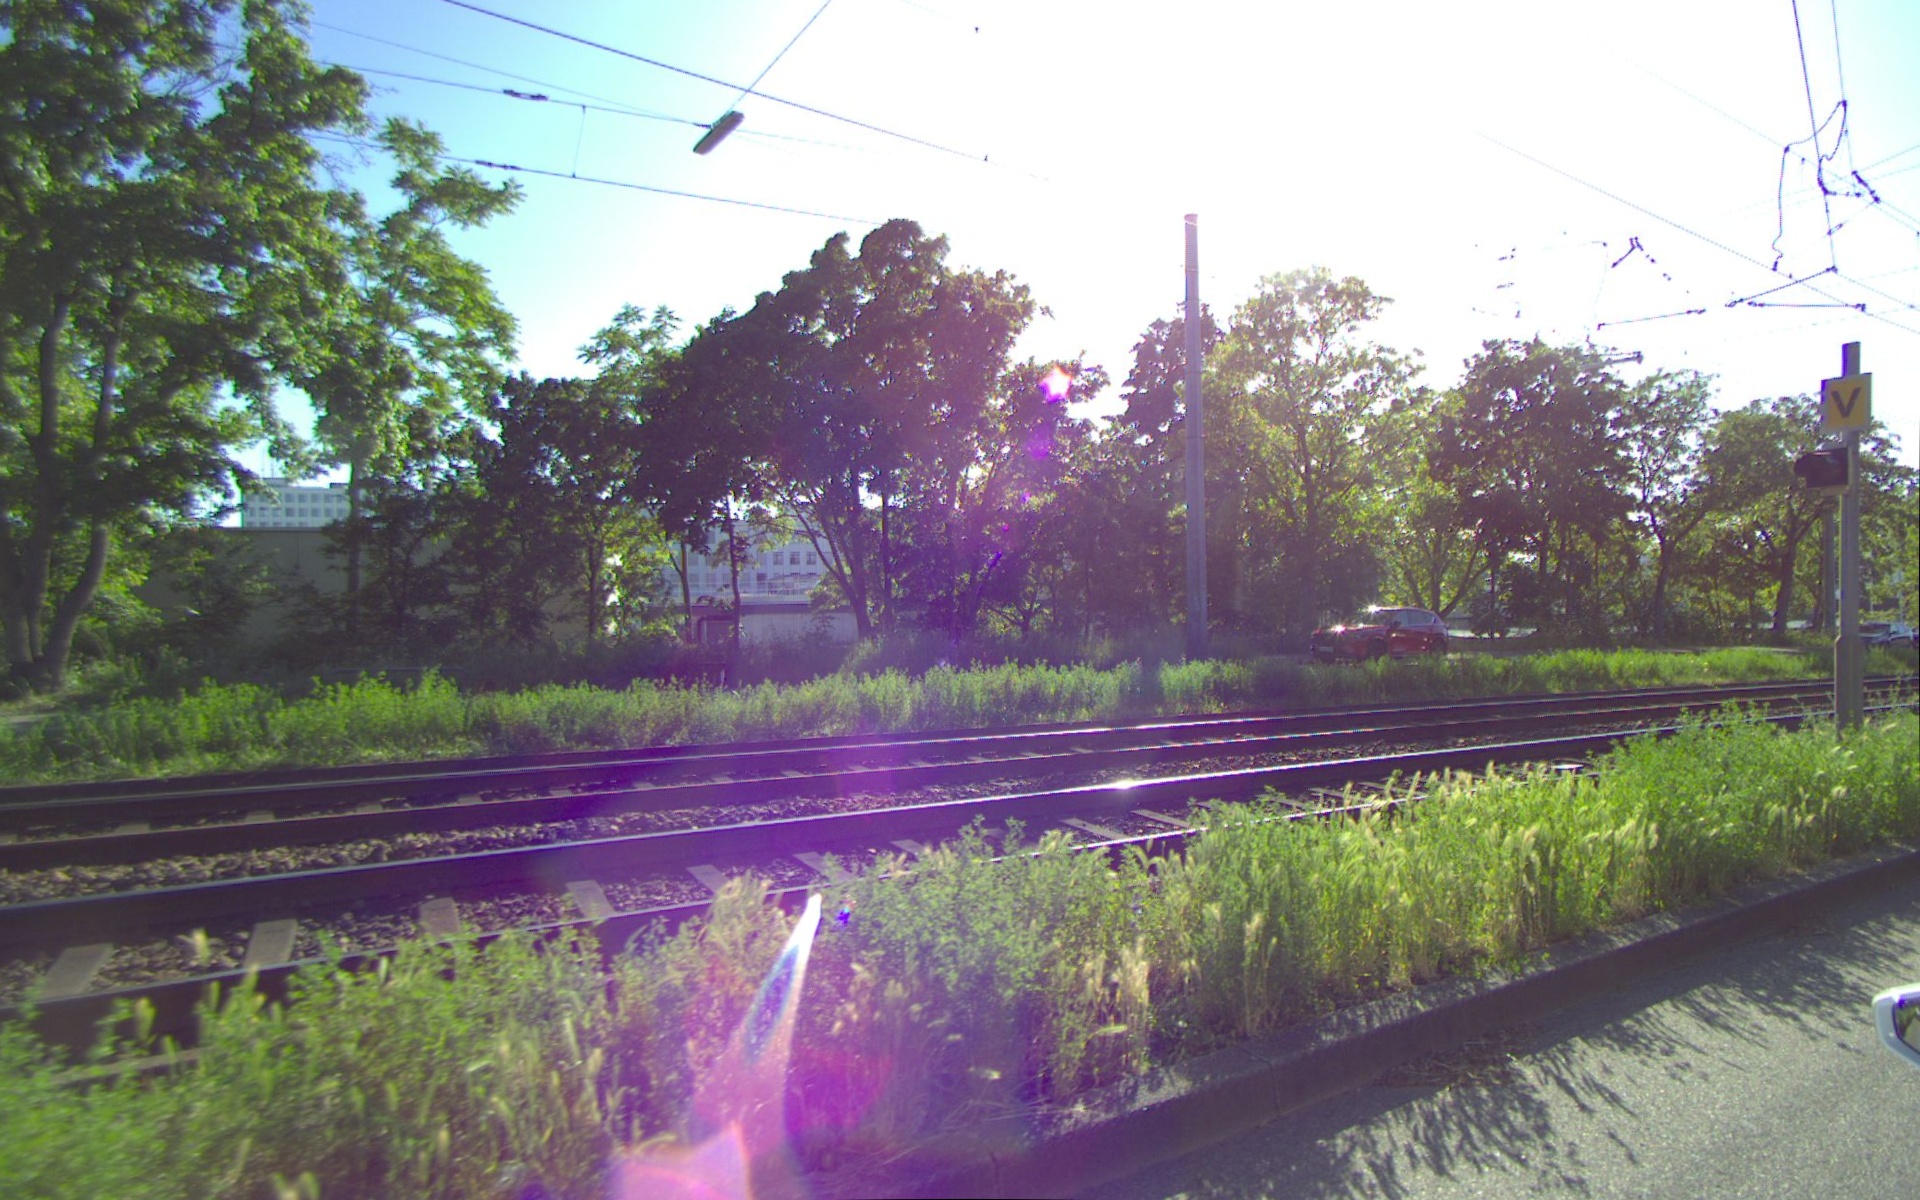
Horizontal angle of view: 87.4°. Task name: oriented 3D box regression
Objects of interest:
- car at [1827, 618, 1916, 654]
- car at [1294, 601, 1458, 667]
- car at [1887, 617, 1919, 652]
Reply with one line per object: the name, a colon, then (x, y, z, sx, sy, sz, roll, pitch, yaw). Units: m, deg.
car: (40.794, 1.595, 44.954, 4.277, 1.514, 1.727, 1, 1, -30)
car: (11.717, 0.908, 28.264, 4.413, 1.725, 1.995, 1, 0, -30)
car: (46.598, 1.642, 48.162, 4.382, 1.595, 1.984, 0, 0, -30)
